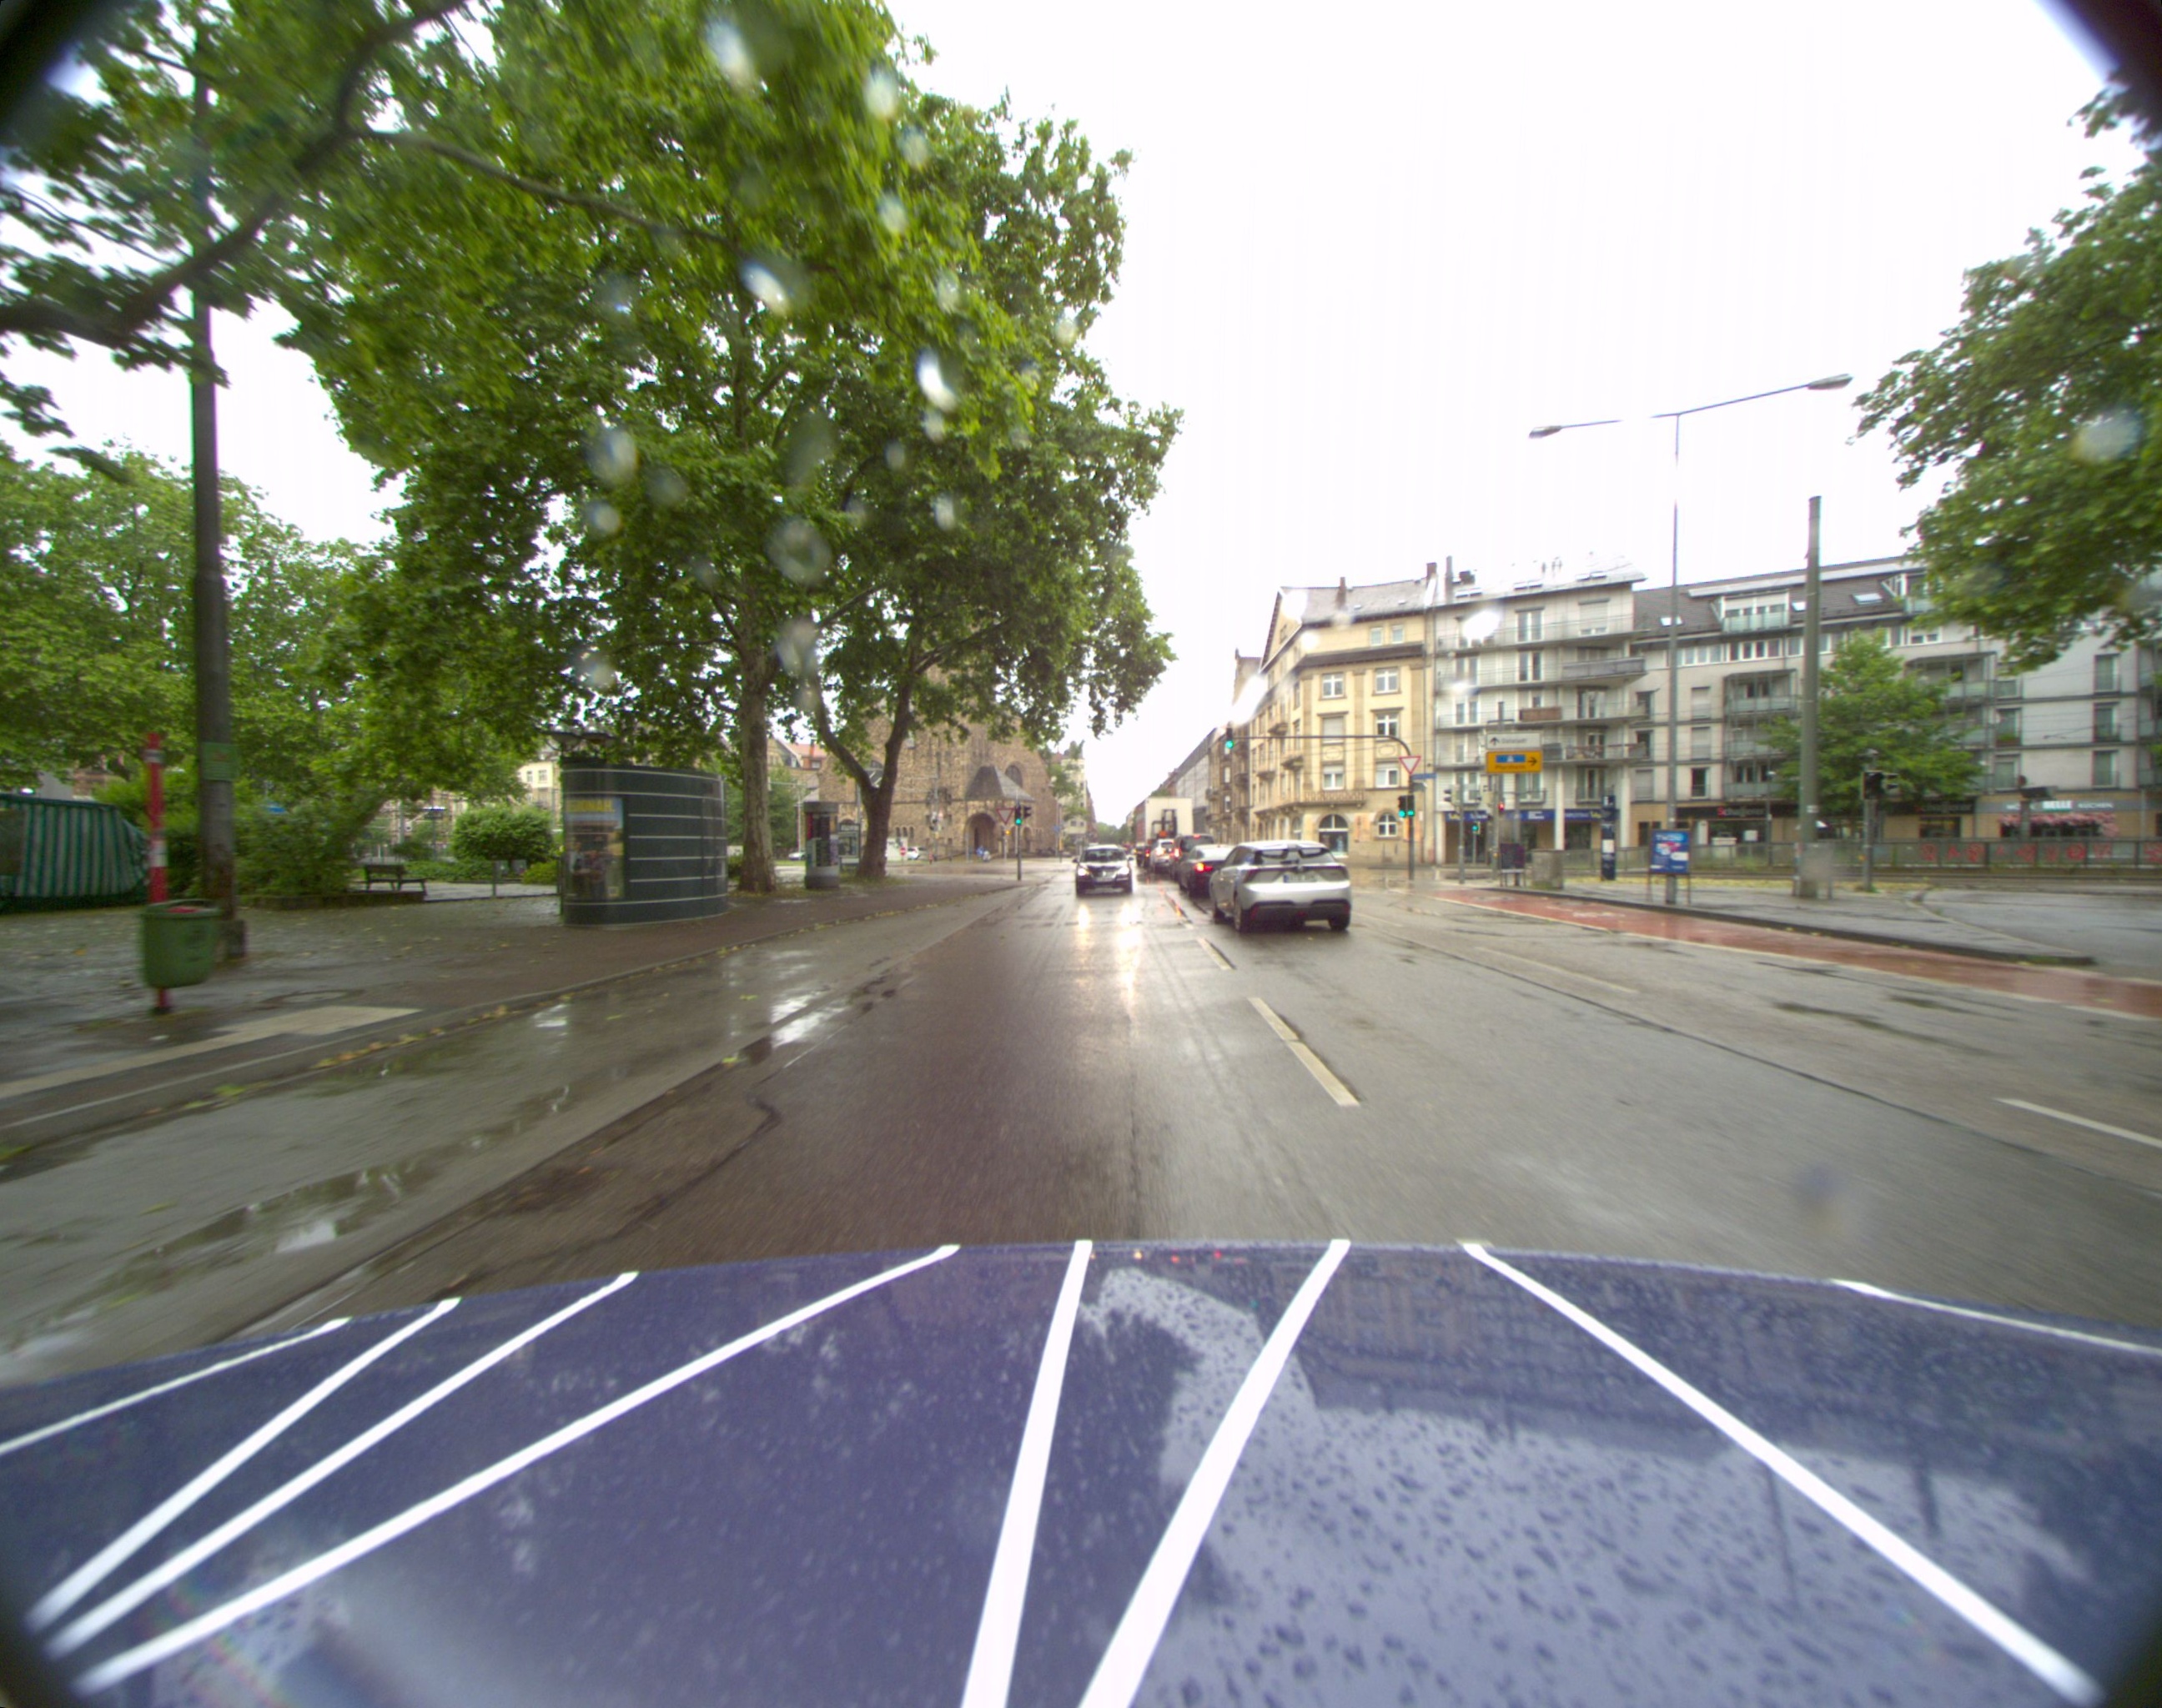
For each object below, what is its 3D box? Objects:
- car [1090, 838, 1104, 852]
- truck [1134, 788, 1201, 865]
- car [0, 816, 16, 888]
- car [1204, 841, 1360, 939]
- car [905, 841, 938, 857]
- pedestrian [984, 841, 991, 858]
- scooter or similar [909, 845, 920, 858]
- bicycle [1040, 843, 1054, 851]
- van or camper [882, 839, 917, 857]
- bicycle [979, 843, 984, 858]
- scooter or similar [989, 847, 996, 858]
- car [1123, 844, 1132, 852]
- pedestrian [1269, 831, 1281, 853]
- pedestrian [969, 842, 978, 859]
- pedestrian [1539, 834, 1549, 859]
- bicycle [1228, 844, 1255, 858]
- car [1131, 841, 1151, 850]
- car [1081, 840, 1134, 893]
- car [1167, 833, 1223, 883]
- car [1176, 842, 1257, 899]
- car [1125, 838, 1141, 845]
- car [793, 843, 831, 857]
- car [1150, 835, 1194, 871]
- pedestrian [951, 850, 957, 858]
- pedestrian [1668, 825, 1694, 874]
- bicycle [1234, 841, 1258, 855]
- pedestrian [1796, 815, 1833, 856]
[{"bbox_3d":[2.270,-1.225,107.572,1.908,1.912,5.272,0,1,2],"label":"car"},{"bbox_3d":[4.822,-1.523,44.468,2.853,4.002,10.314,0,1,1],"label":"truck"},{"bbox_3d":[-31.514,-0.020,19.881,1.950,2.002,3.875,0,1,24],"label":"car"},{"bbox_3d":[3.445,0.524,13.831,1.849,1.501,4.055,0,1,1],"label":"car"},{"bbox_3d":[-17.690,-0.610,84.405,1.732,1.566,3.362,0,5,29],"label":"car"},{"bbox_3d":[-9.145,-0.444,74.298,0.604,1.654,0.689,0,1,6],"label":"pedestrian"},{"bbox_3d":[-17.071,-0.270,77.956,1.101,1.379,0.287,0,1,25],"label":"scooter or similar"},{"bbox_3d":[-4.697,-0.938,104.508,1.923,1.054,0.582,1,2,24],"label":"bicycle"},{"bbox_3d":[-20.529,-0.691,85.977,1.644,1.719,3.934,1,5,26],"label":"van or camper"},{"bbox_3d":[-9.721,-0.330,74.347,0.533,1.458,1.938,0,1,-7],"label":"bicycle"},{"bbox_3d":[-8.598,-0.136,73.878,0.514,1.042,0.924,0,1,5],"label":"scooter or similar"},{"bbox_3d":[9.026,-1.252,148.737,1.747,1.538,3.779,0,1,3],"label":"car"},{"bbox_3d":[17.180,-1.051,67.278,0.919,1.956,0.701,0,4,11],"label":"pedestrian"},{"bbox_3d":[-10.961,-0.334,77.306,0.676,1.693,0.635,1,2,40],"label":"pedestrian"},{"bbox_3d":[33.302,-0.520,54.644,0.610,1.770,0.500,0,2,27],"label":"pedestrian"},{"bbox_3d":[15.092,-0.281,71.474,2.347,1.338,0.640,0,1,-2],"label":"bicycle"},{"bbox_3d":[12.521,-1.791,158.069,3.802,1.705,1.998,0,1,-8],"label":"car"},{"bbox_3d":[0.871,0.341,24.590,1.547,1.554,4.070,0,1,2],"label":"car"},{"bbox_3d":[4.494,0.099,30.466,1.811,1.851,4.109,0,1,3],"label":"car"},{"bbox_3d":[3.786,0.398,21.870,1.746,1.382,4.362,-1,2,3],"label":"car"},{"bbox_3d":[14.048,-3.381,206.164,3.809,1.705,1.995,0,1,-31],"label":"car"},{"bbox_3d":[-32.427,-0.495,91.696,1.995,1.609,4.007,0,1,26],"label":"car"},{"bbox_3d":[4.233,-0.098,35.819,1.746,1.595,4.000,0,1,3],"label":"car"},{"bbox_3d":[-13.305,-0.017,79.385,0.455,0.879,0.397,0,1,23],"label":"pedestrian"},{"bbox_3d":[25.704,-0.200,32.546,0.701,2.066,0.638,0,2,21],"label":"pedestrian"},{"bbox_3d":[15.592,-0.556,71.800,2.062,1.338,0.584,0,1,-2],"label":"bicycle"},{"bbox_3d":[29.849,-0.758,30.930,0.815,1.639,0.795,1,2,25],"label":"pedestrian"}]
